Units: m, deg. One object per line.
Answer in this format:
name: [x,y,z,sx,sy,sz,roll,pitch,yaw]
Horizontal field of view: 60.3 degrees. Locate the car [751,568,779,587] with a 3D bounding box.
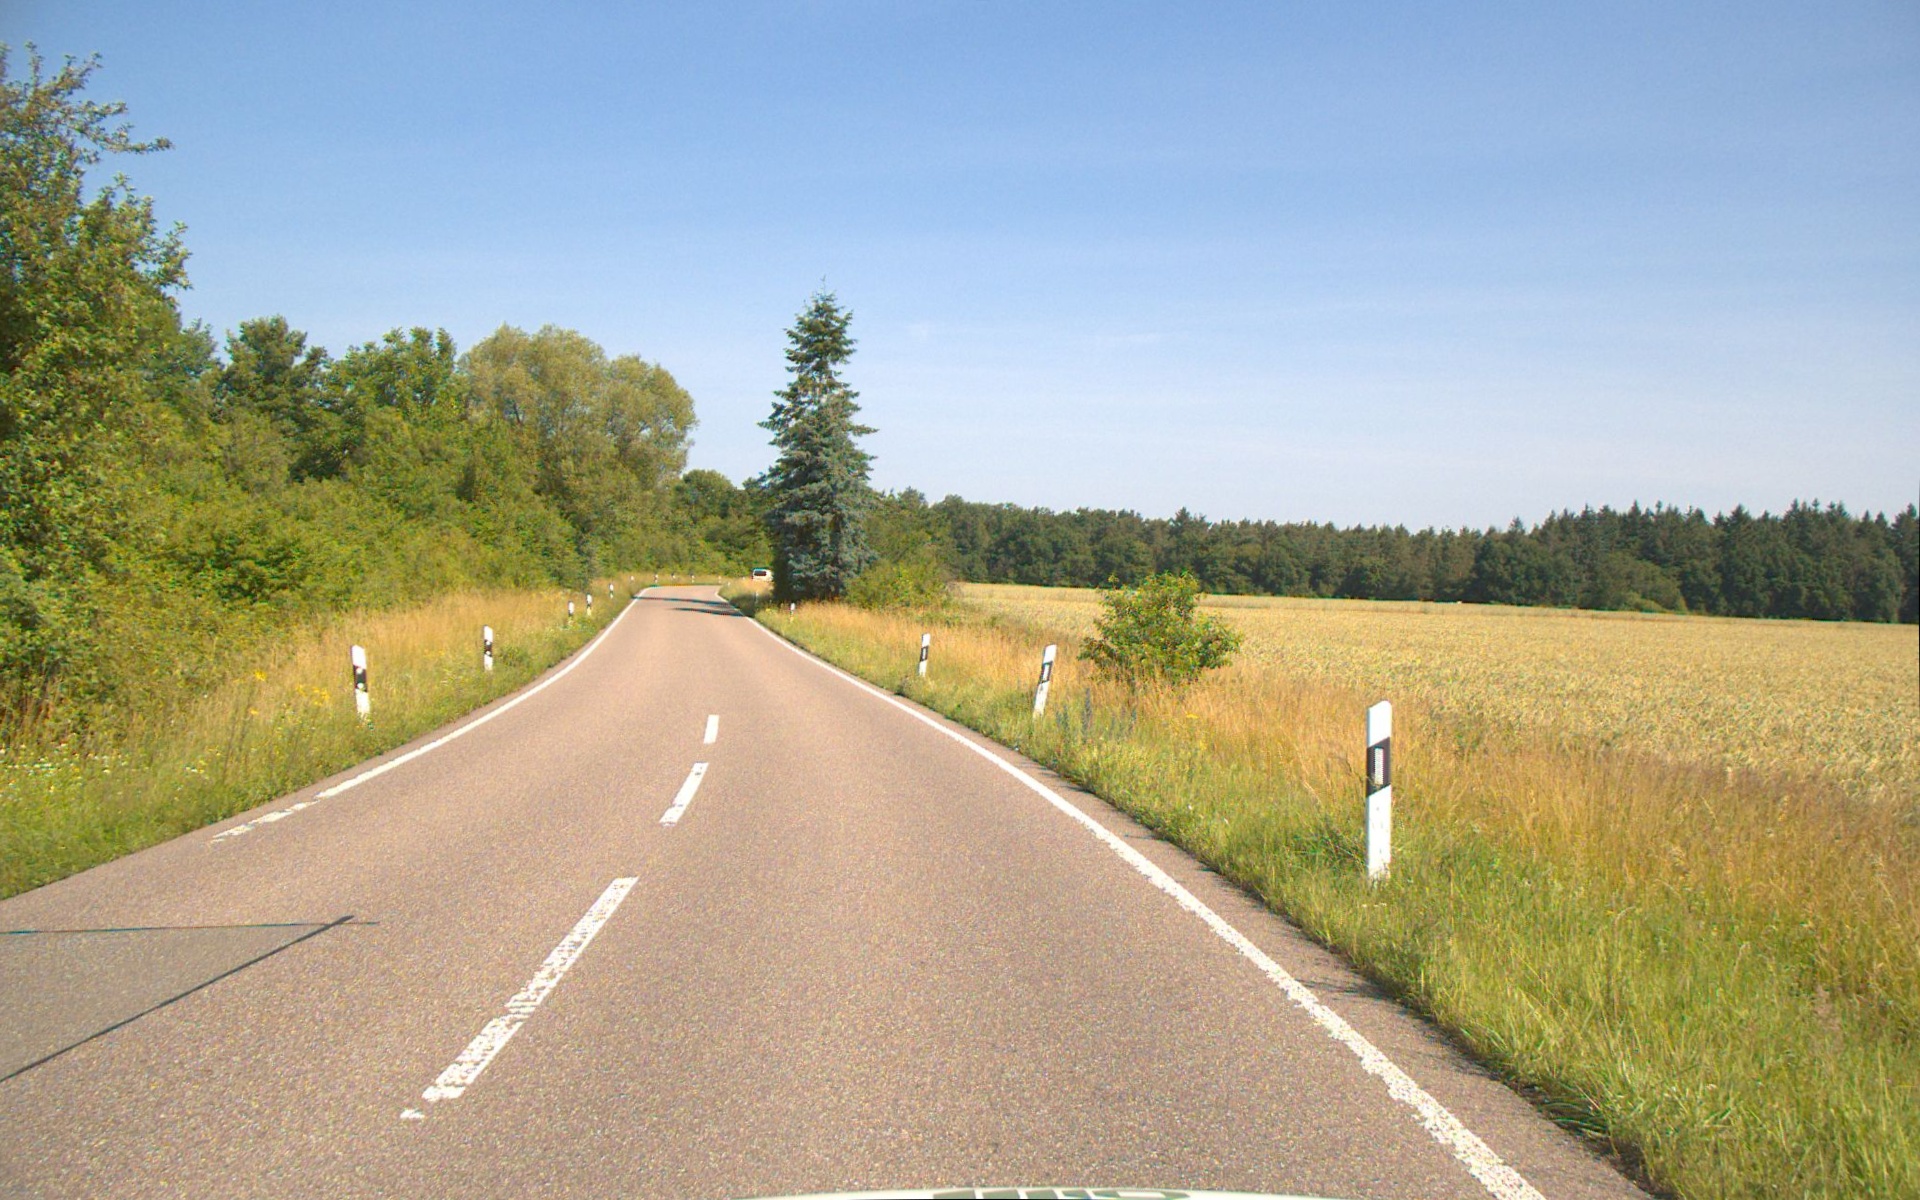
car: [-20.964,-2.463,177.596,1.921,1.833,4.164,5,2,7]
